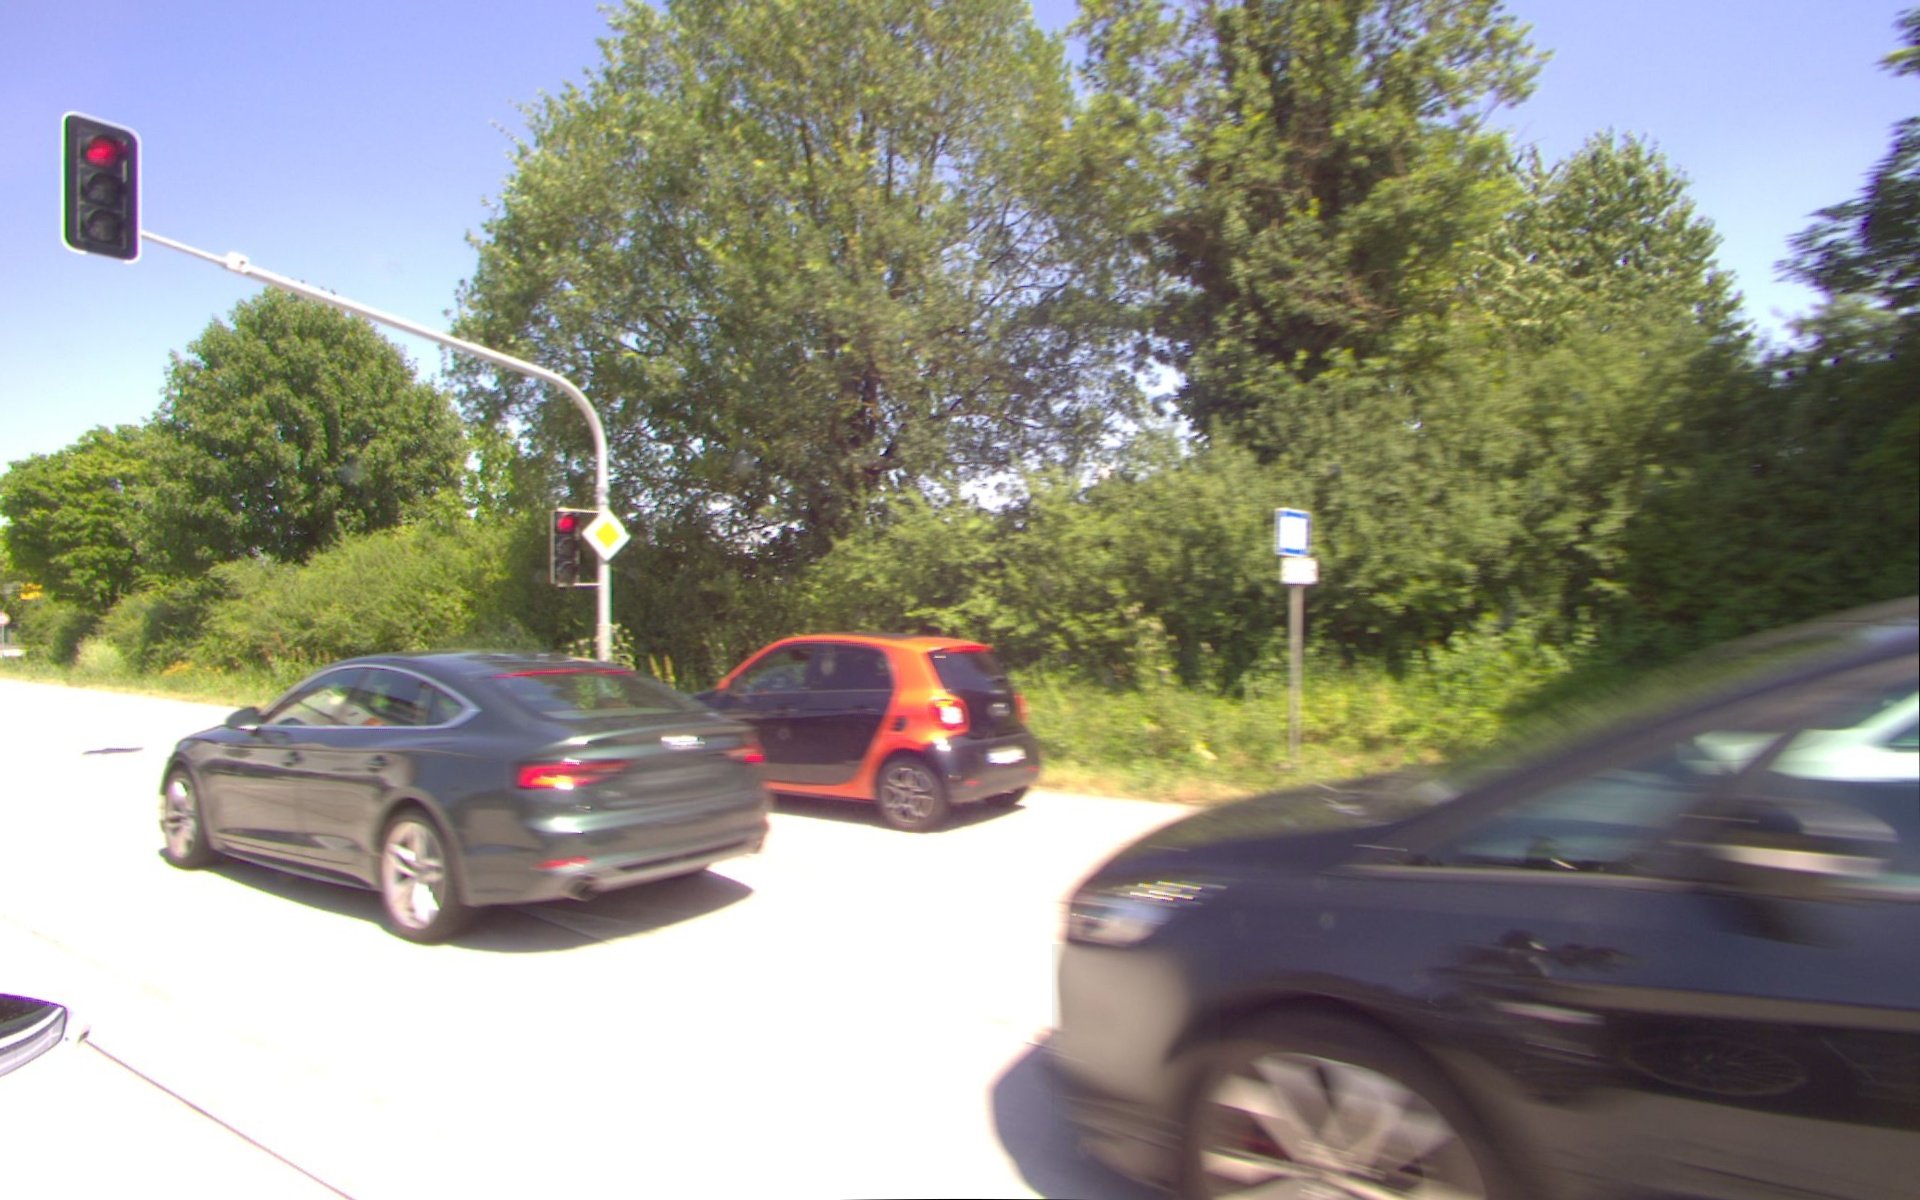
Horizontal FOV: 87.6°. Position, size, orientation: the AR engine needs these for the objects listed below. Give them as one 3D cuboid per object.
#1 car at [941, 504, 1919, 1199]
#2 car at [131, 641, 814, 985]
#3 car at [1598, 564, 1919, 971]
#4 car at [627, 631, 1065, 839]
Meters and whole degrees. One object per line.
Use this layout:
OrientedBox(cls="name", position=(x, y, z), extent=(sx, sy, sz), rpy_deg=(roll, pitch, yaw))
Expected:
OrientedBox(cls="car", position=(2.362, 0.694, 2.144), extent=(4.579, 1.660, 1.781), rpy_deg=(-1, -2, 31))
OrientedBox(cls="car", position=(-3.195, 0.976, 6.207), extent=(4.546, 1.428, 1.764), rpy_deg=(-2, -2, 34))
OrientedBox(cls="car", position=(5.835, 0.755, 4.662), extent=(4.722, 1.830, 1.766), rpy_deg=(-1, -2, 30))
OrientedBox(cls="car", position=(-1.057, 1.057, 9.038), extent=(3.597, 1.528, 1.766), rpy_deg=(-1, -2, 30))
